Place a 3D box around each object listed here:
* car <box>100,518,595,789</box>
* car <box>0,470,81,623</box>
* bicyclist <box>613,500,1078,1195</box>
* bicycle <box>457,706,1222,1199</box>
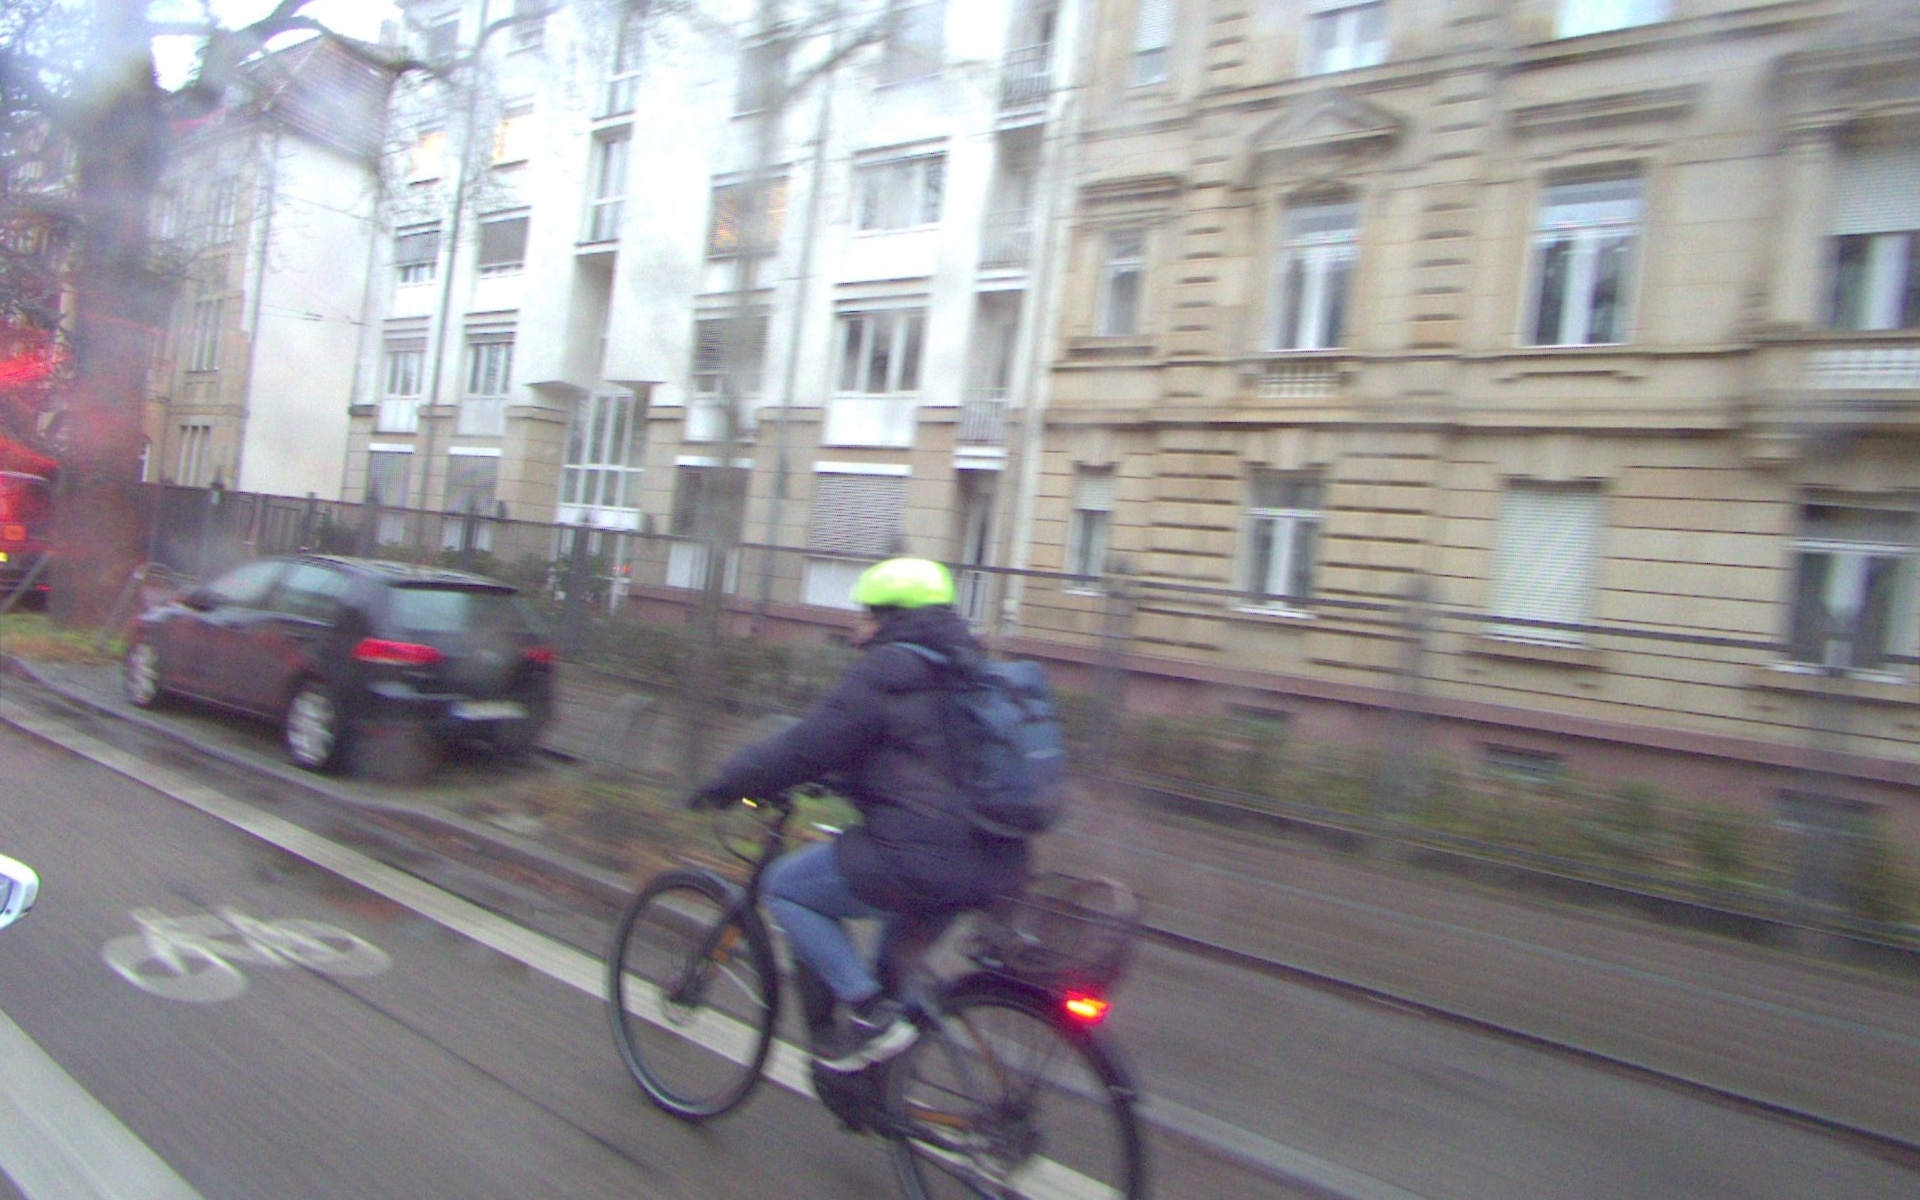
[{"bbox_3d":[-5.047,0.320,8.163,3.974,1.478,1.680,7,0,31],"label":"car"},{"bbox_3d":[-14.600,-1.002,14.027,4.942,1.924,1.996,8,1,31],"label":"car"},{"bbox_3d":[-0.298,0.538,2.664,0.836,1.464,0.656,8,1,34],"label":"bicyclist"},{"bbox_3d":[-0.438,1.011,2.745,1.997,1.110,0.707,8,1,35],"label":"bicycle"}]
